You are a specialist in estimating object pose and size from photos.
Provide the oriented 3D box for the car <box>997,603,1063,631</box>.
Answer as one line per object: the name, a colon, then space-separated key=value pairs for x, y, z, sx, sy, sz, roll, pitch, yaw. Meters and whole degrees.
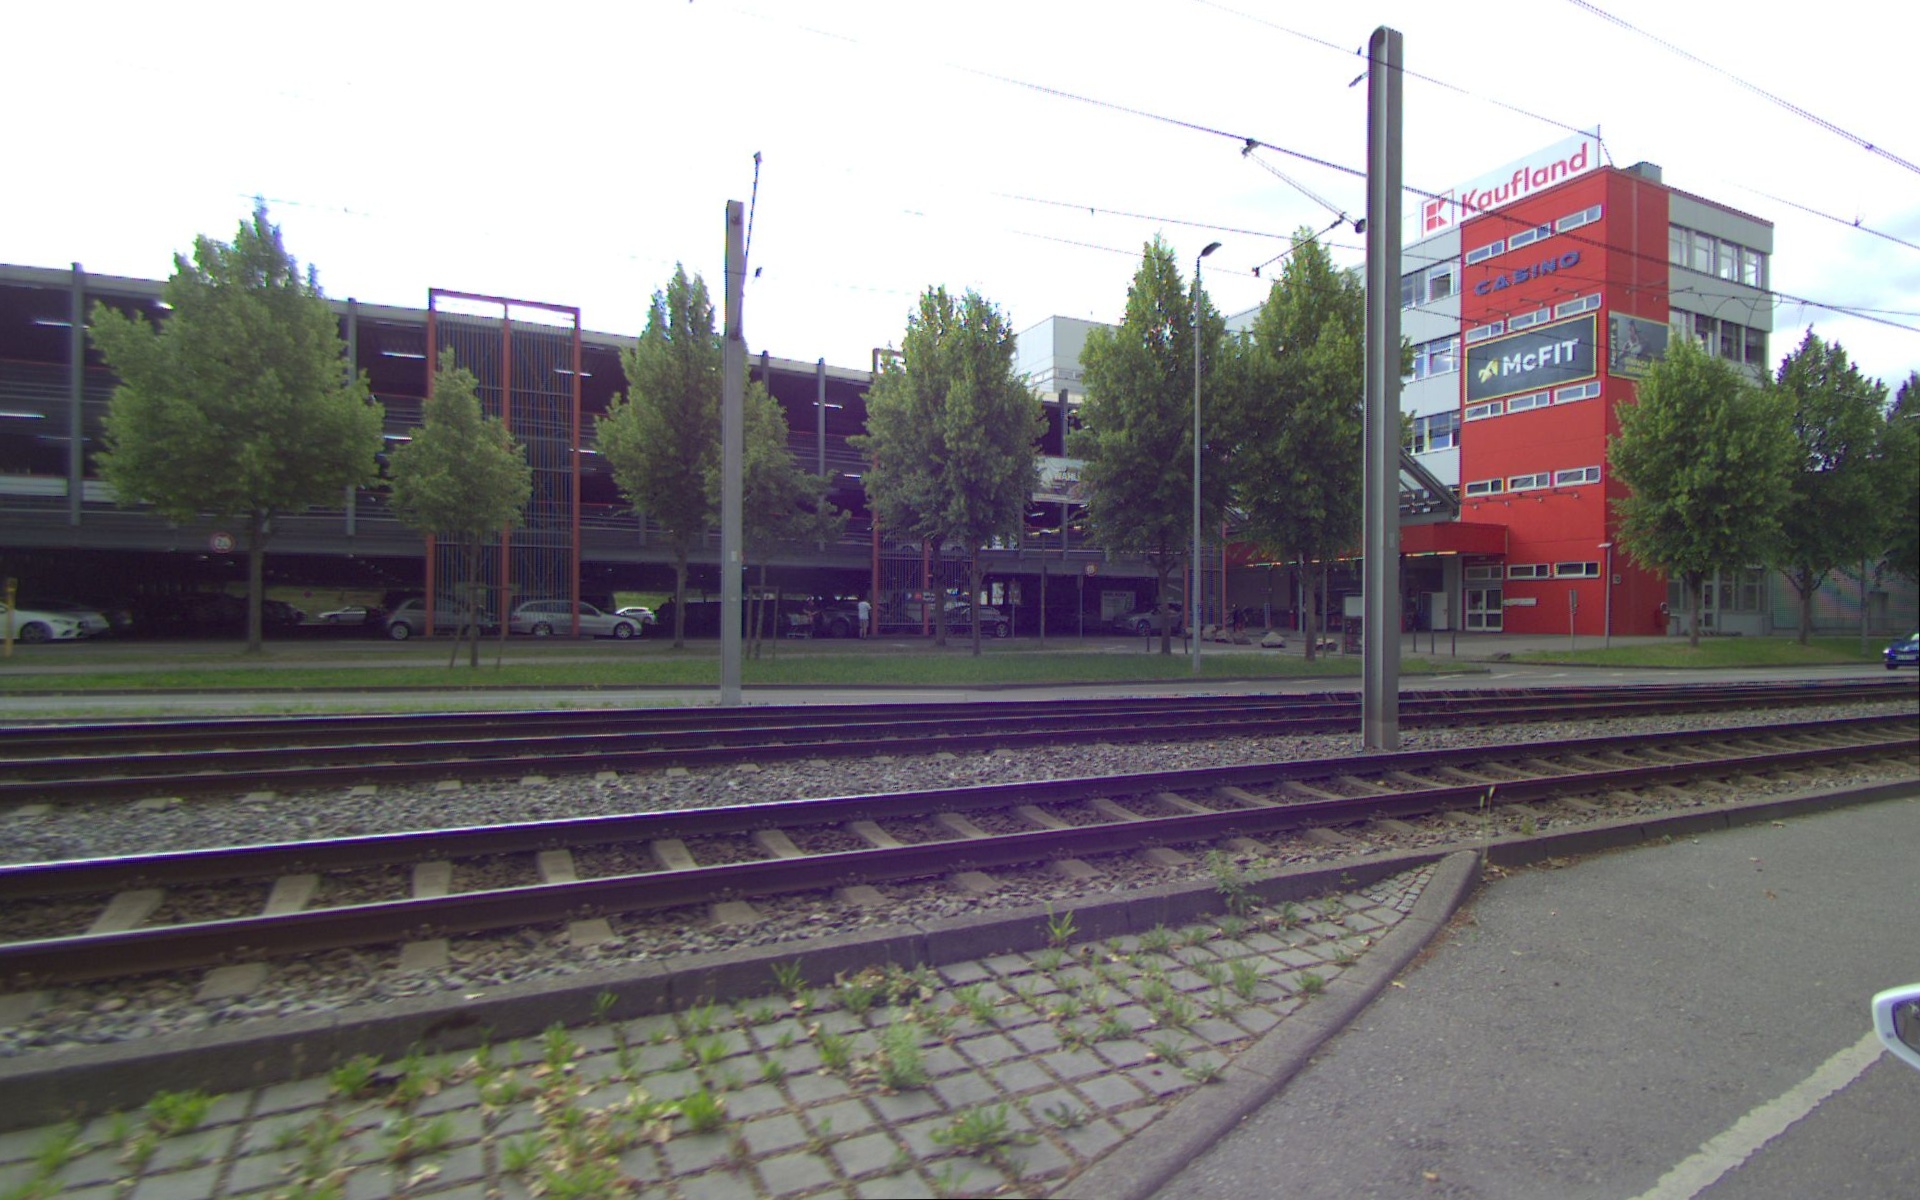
car: x=4.177 y=1.022 z=60.033 sx=3.630 sy=1.572 sz=1.666 roll=1 pitch=0 yaw=-29

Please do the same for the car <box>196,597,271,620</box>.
car: x=-40.892 y=0.504 z=56.604 sx=3.175 sy=1.240 sz=1.433 roll=1 pitch=0 yaw=-27

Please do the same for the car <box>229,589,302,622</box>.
car: x=-44.389 y=0.376 z=64.276 sx=3.482 sy=2.040 sz=1.836 roll=1 pitch=-2 yaw=-25

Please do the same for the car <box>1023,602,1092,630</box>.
car: x=5.670 y=0.940 z=58.236 sx=3.765 sy=1.572 sz=1.666 roll=1 pitch=-2 yaw=-29

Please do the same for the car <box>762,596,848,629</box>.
car: x=-7.204 y=0.596 z=46.663 sx=3.628 sy=1.495 sz=1.667 roll=1 pitch=0 yaw=-27

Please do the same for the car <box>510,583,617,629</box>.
car: x=-16.604 y=0.254 z=42.068 sx=4.002 sy=1.838 sz=1.834 roll=1 pitch=0 yaw=-28

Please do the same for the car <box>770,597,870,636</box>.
car: x=-5.604 y=0.664 z=40.284 sx=3.628 sy=1.495 sz=1.667 roll=1 pitch=0 yaw=-27

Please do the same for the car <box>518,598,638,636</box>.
car: x=-14.206 y=0.632 z=37.411 sx=4.021 sy=1.322 sz=1.629 roll=1 pitch=0 yaw=-28

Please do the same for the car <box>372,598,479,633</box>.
car: x=-19.849 y=0.602 z=37.441 sx=3.429 sy=1.240 sz=1.434 roll=1 pitch=-2 yaw=-27

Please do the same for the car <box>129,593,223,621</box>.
car: x=-37.561 y=0.325 z=48.222 sx=3.255 sy=1.287 sz=1.529 roll=1 pitch=0 yaw=-25

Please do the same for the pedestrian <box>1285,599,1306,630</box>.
pedestrian: x=19.043 y=0.814 z=57.087 sx=0.855 sy=1.717 sz=0.734 roll=1 pitch=-2 yaw=-27

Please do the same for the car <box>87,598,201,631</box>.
car: x=-31.679 y=0.590 z=39.086 sx=3.175 sy=1.240 sz=1.434 roll=1 pitch=-2 yaw=-27

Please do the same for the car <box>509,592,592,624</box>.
car: x=-21.734 y=0.426 z=53.354 sx=3.948 sy=1.596 sz=1.808 roll=1 pitch=0 yaw=-27

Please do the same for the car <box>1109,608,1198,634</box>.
car: x=9.616 y=1.047 z=49.778 sx=4.393 sy=1.243 sz=1.449 roll=1 pitch=0 yaw=-28

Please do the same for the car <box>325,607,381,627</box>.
car: x=-47.045 y=1.324 z=77.889 sx=3.643 sy=1.418 sz=1.432 roll=1 pitch=-2 yaw=-30

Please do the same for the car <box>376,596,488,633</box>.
car: x=-18.495 y=0.509 z=35.336 sx=3.428 sy=1.240 sz=1.434 roll=1 pitch=0 yaw=-26

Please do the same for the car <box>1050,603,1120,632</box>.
car: x=7.000 y=1.006 z=56.305 sx=3.597 sy=1.572 sz=1.760 roll=1 pitch=-2 yaw=-29

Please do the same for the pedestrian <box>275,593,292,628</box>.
pedestrian: x=-39.258 y=0.611 z=58.317 sx=0.721 sy=2.040 sz=0.519 roll=1 pitch=-2 yaw=-29

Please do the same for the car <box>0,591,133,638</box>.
car: x=-29.806 y=0.502 z=32.661 sx=4.144 sy=1.451 sz=1.834 roll=1 pitch=-2 yaw=-28

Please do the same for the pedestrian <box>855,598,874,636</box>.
pedestrian: x=-3.804 y=0.675 z=39.984 sx=0.606 sy=1.526 sz=0.419 roll=1 pitch=0 yaw=-26

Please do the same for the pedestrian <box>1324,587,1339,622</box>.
pedestrian: x=21.997 y=0.275 z=59.443 sx=0.546 sy=2.040 sz=0.599 roll=1 pitch=-2 yaw=-25

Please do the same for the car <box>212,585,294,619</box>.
car: x=-43.285 y=0.140 z=61.611 sx=3.801 sy=2.040 sz=1.954 roll=1 pitch=0 yaw=-25

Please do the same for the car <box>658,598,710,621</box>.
car: x=-20.523 y=0.696 z=74.777 sx=3.482 sy=1.658 sz=1.835 roll=1 pitch=0 yaw=-25

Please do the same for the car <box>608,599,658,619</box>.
car: x=-28.886 y=0.786 z=88.715 sx=3.945 sy=1.751 sz=1.988 roll=1 pitch=0 yaw=-24

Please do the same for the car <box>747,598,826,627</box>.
car: x=-8.815 y=0.633 z=51.084 sx=3.628 sy=1.437 sz=1.667 roll=1 pitch=0 yaw=-27

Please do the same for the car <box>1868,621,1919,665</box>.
car: x=32.738 y=1.429 z=33.945 sx=3.665 sy=1.411 sz=1.656 roll=1 pitch=0 yaw=-22

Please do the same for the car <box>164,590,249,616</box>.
car: x=-37.778 y=0.179 z=50.433 sx=3.175 sy=1.240 sz=1.433 roll=1 pitch=0 yaw=-27

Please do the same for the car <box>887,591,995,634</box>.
car: x=-0.850 y=0.603 z=46.838 sx=4.806 sy=1.913 sz=1.667 roll=1 pitch=0 yaw=-27

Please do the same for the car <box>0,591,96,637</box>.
car: x=-28.541 y=0.408 z=29.868 sx=4.021 sy=1.342 sz=1.629 roll=1 pitch=-1 yaw=-28

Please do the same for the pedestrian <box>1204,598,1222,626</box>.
pedestrian: x=15.683 y=0.766 z=62.292 sx=0.855 sy=1.717 sz=0.734 roll=1 pitch=-2 yaw=-27

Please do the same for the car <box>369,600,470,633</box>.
car: x=-21.212 y=0.681 z=39.568 sx=3.429 sy=1.240 sz=1.434 roll=1 pitch=-2 yaw=-27

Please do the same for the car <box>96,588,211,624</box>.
car: x=-35.187 y=0.270 z=43.936 sx=3.604 sy=1.521 sz=1.706 roll=1 pitch=0 yaw=-25

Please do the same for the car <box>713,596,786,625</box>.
car: x=-11.590 y=0.582 z=55.408 sx=3.628 sy=1.495 sz=1.667 roll=1 pitch=0 yaw=-27

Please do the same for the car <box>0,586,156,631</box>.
car: x=-30.797 y=0.335 z=34.870 sx=4.144 sy=1.451 sz=1.834 roll=1 pitch=-2 yaw=-28

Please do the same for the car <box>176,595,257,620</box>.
car: x=-39.071 y=0.396 z=52.871 sx=3.175 sy=1.240 sz=1.434 roll=1 pitch=-2 yaw=-27

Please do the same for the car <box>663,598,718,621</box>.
car: x=-19.204 y=0.675 z=71.559 sx=3.482 sy=1.634 sz=1.835 roll=1 pitch=0 yaw=-25

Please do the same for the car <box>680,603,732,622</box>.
car: x=-17.159 y=0.834 z=67.770 sx=3.175 sy=1.240 sz=1.433 roll=1 pitch=0 yaw=-27

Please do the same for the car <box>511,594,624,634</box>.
car: x=-15.443 y=0.585 z=39.561 sx=4.001 sy=1.451 sz=1.835 roll=1 pitch=-2 yaw=-27
